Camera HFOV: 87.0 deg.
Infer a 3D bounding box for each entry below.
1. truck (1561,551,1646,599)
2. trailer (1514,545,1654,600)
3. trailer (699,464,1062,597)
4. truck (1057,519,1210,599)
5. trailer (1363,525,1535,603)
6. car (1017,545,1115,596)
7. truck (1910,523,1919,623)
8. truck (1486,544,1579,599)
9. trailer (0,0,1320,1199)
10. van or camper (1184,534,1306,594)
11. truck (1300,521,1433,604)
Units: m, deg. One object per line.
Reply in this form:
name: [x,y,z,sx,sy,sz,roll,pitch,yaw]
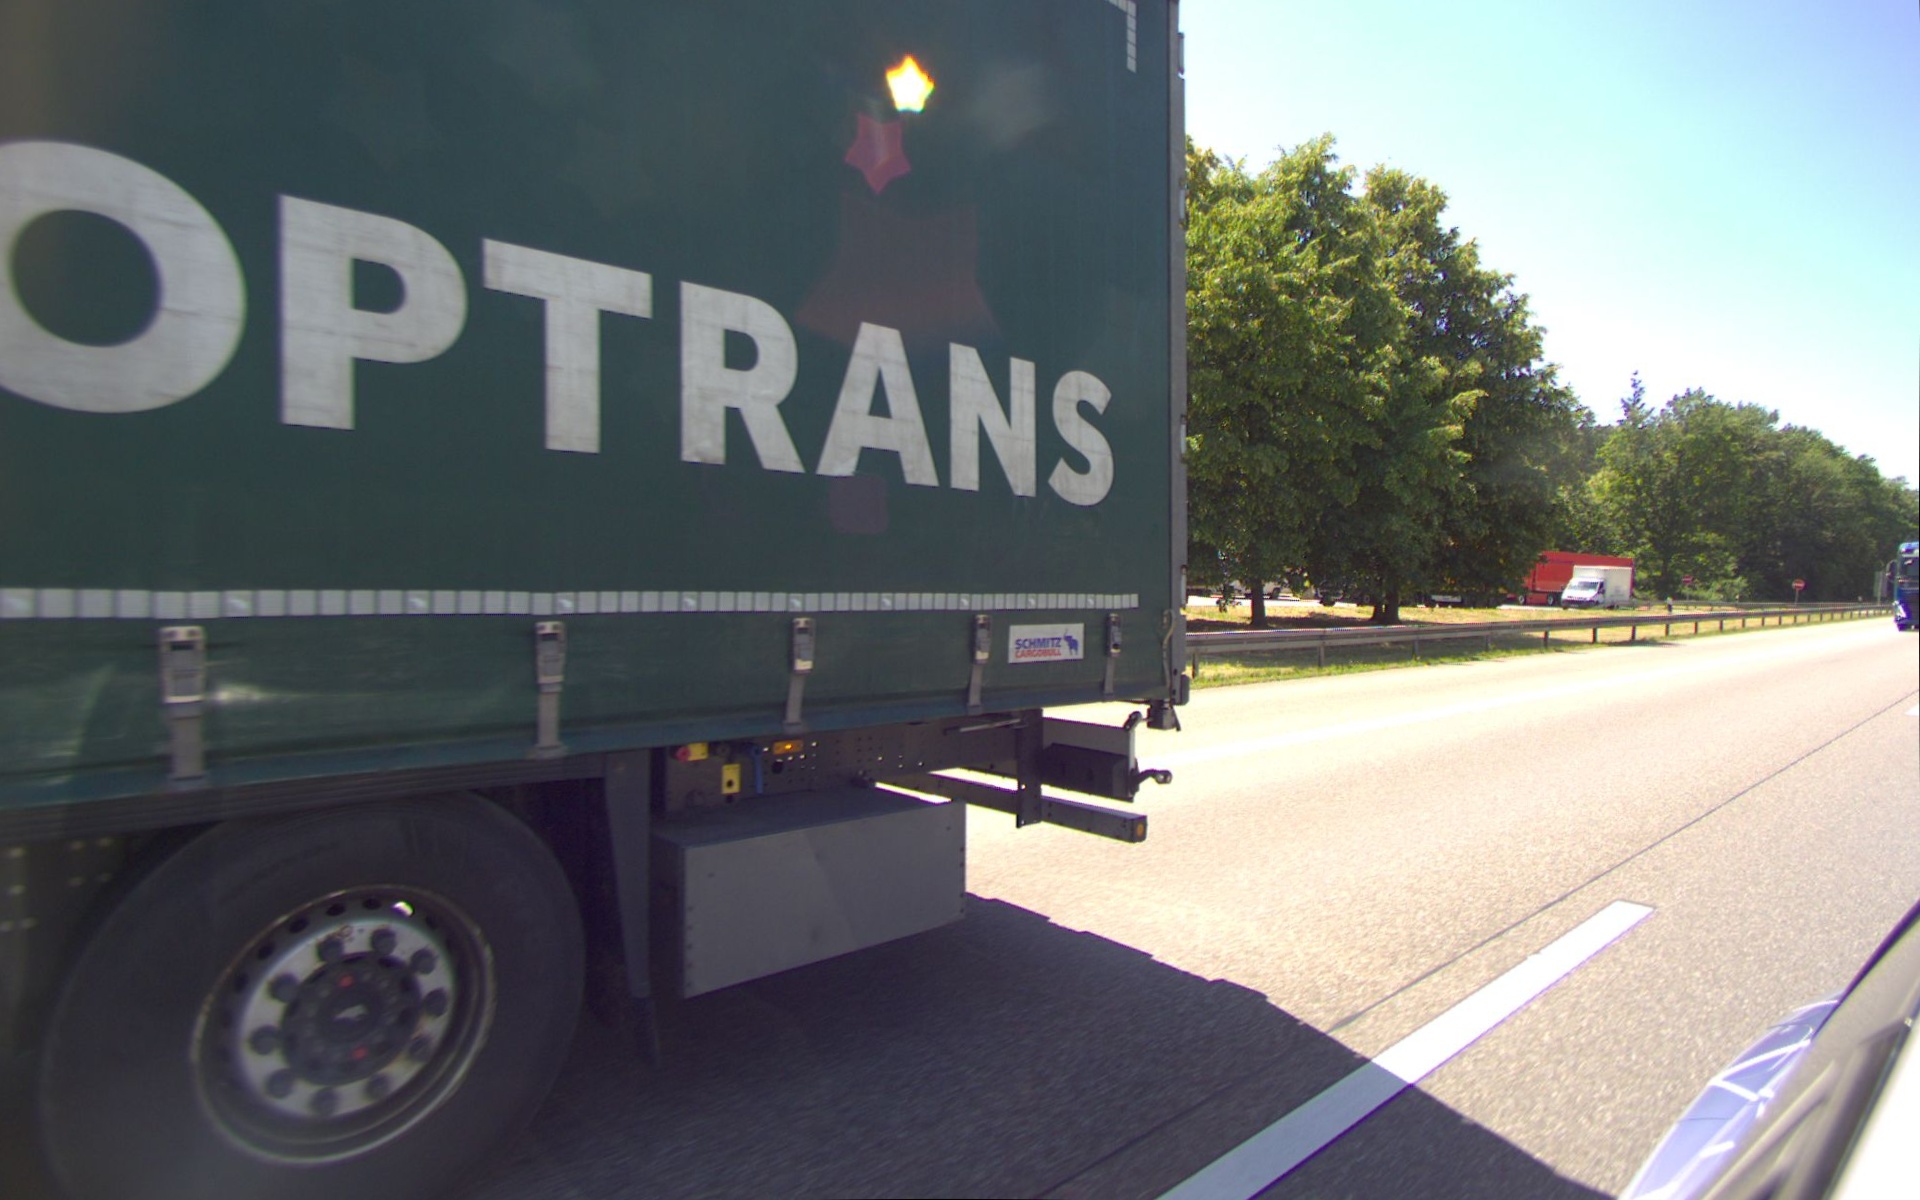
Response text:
truck: [42.529,-1.603,66.781,7.521,2.983,2.474,0,1,-39]
trailer: [48.091,-2.057,77.803,12.624,3.926,2.994,0,1,-27]
trailer: [-2.151,-2.047,34.575,13.128,3.838,3.107,0,0,-41]
truck: [7.330,-1.629,42.346,6.492,3.125,2.476,0,0,-36]
trailer: [27.359,-1.898,56.318,11.326,3.984,3.196,0,1,-33]
car: [5.388,-1.487,51.327,4.685,2.469,2.002,0,2,-32]
truck: [41.545,-1.121,42.206,4.002,4.088,2.453,0,1,-42]
truck: [42.309,-2.081,74.811,6.286,3.929,2.994,1,1,-28]
trailer: [-3.911,-0.924,1.667,11.842,4.685,3.187,0,1,-42]
van or camper: [16.742,-2.069,59.284,6.863,3.274,3.011,1,2,-33]
truck: [20.962,-1.862,52.135,6.488,3.984,3.196,0,1,-33]
